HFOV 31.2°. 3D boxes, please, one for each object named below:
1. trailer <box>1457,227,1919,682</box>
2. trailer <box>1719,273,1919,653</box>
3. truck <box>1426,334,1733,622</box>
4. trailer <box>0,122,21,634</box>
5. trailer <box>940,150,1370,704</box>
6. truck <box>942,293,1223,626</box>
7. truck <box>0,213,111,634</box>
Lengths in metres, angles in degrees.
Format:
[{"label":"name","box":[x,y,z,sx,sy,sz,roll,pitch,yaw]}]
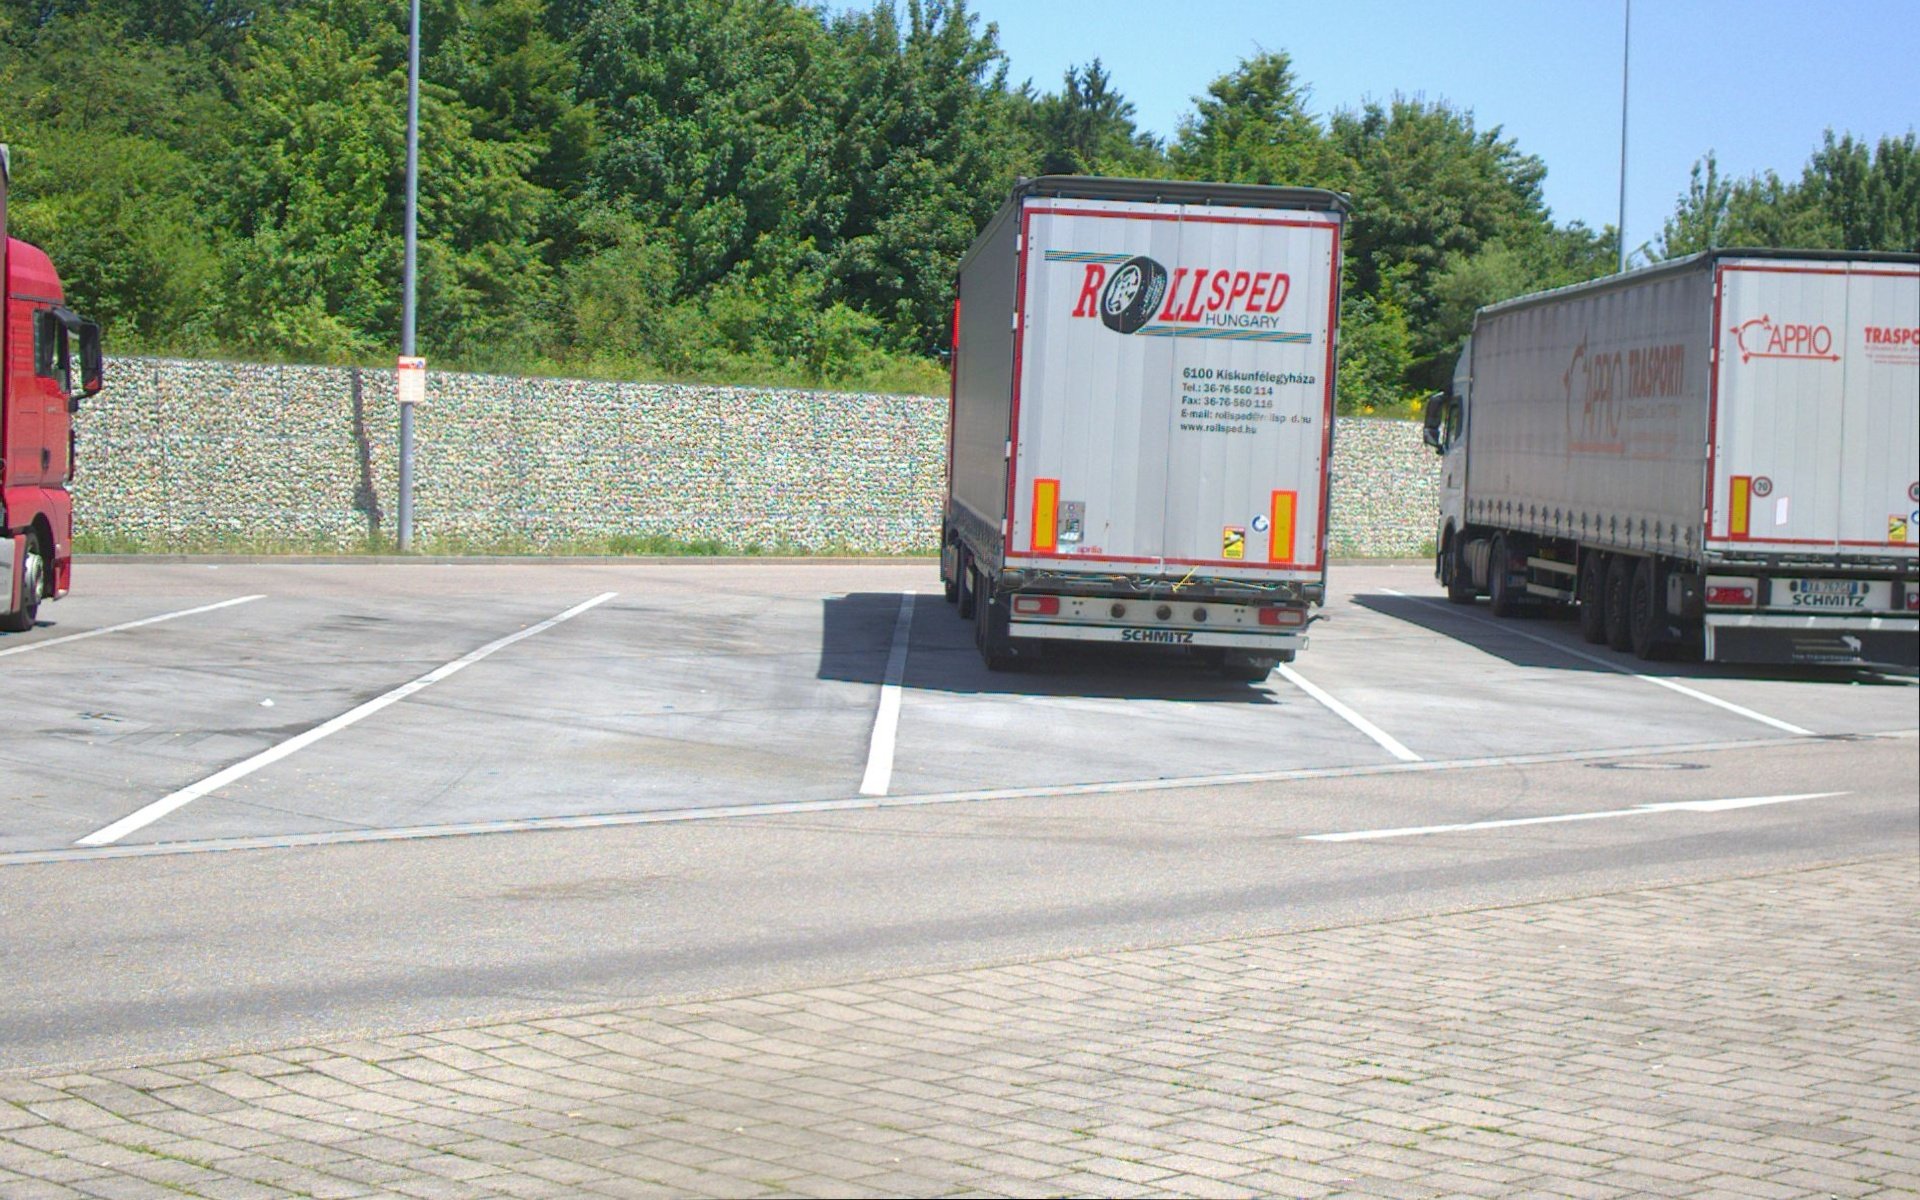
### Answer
[{"label":"trailer","box":[8.167,-1.635,38.677,2.838,4.118,13.724,2,3,-1]},{"label":"trailer","box":[11.804,-1.538,39.429,2.838,4.118,13.724,2,3,-1]},{"label":"truck","box":[8.074,-1.634,45.490,2.852,3.472,5.483,2,2,-1]},{"label":"trailer","box":[-9.138,-1.493,21.293,2.906,4.118,13.725,2,3,-1]},{"label":"trailer","box":[1.449,-1.628,33.188,2.906,4.118,13.725,2,3,-1]},{"label":"truck","box":[1.301,-1.636,39.801,2.852,3.472,5.483,2,2,-1]},{"label":"truck","box":[-9.227,-1.510,28.732,2.852,3.416,5.483,2,2,-1]}]
